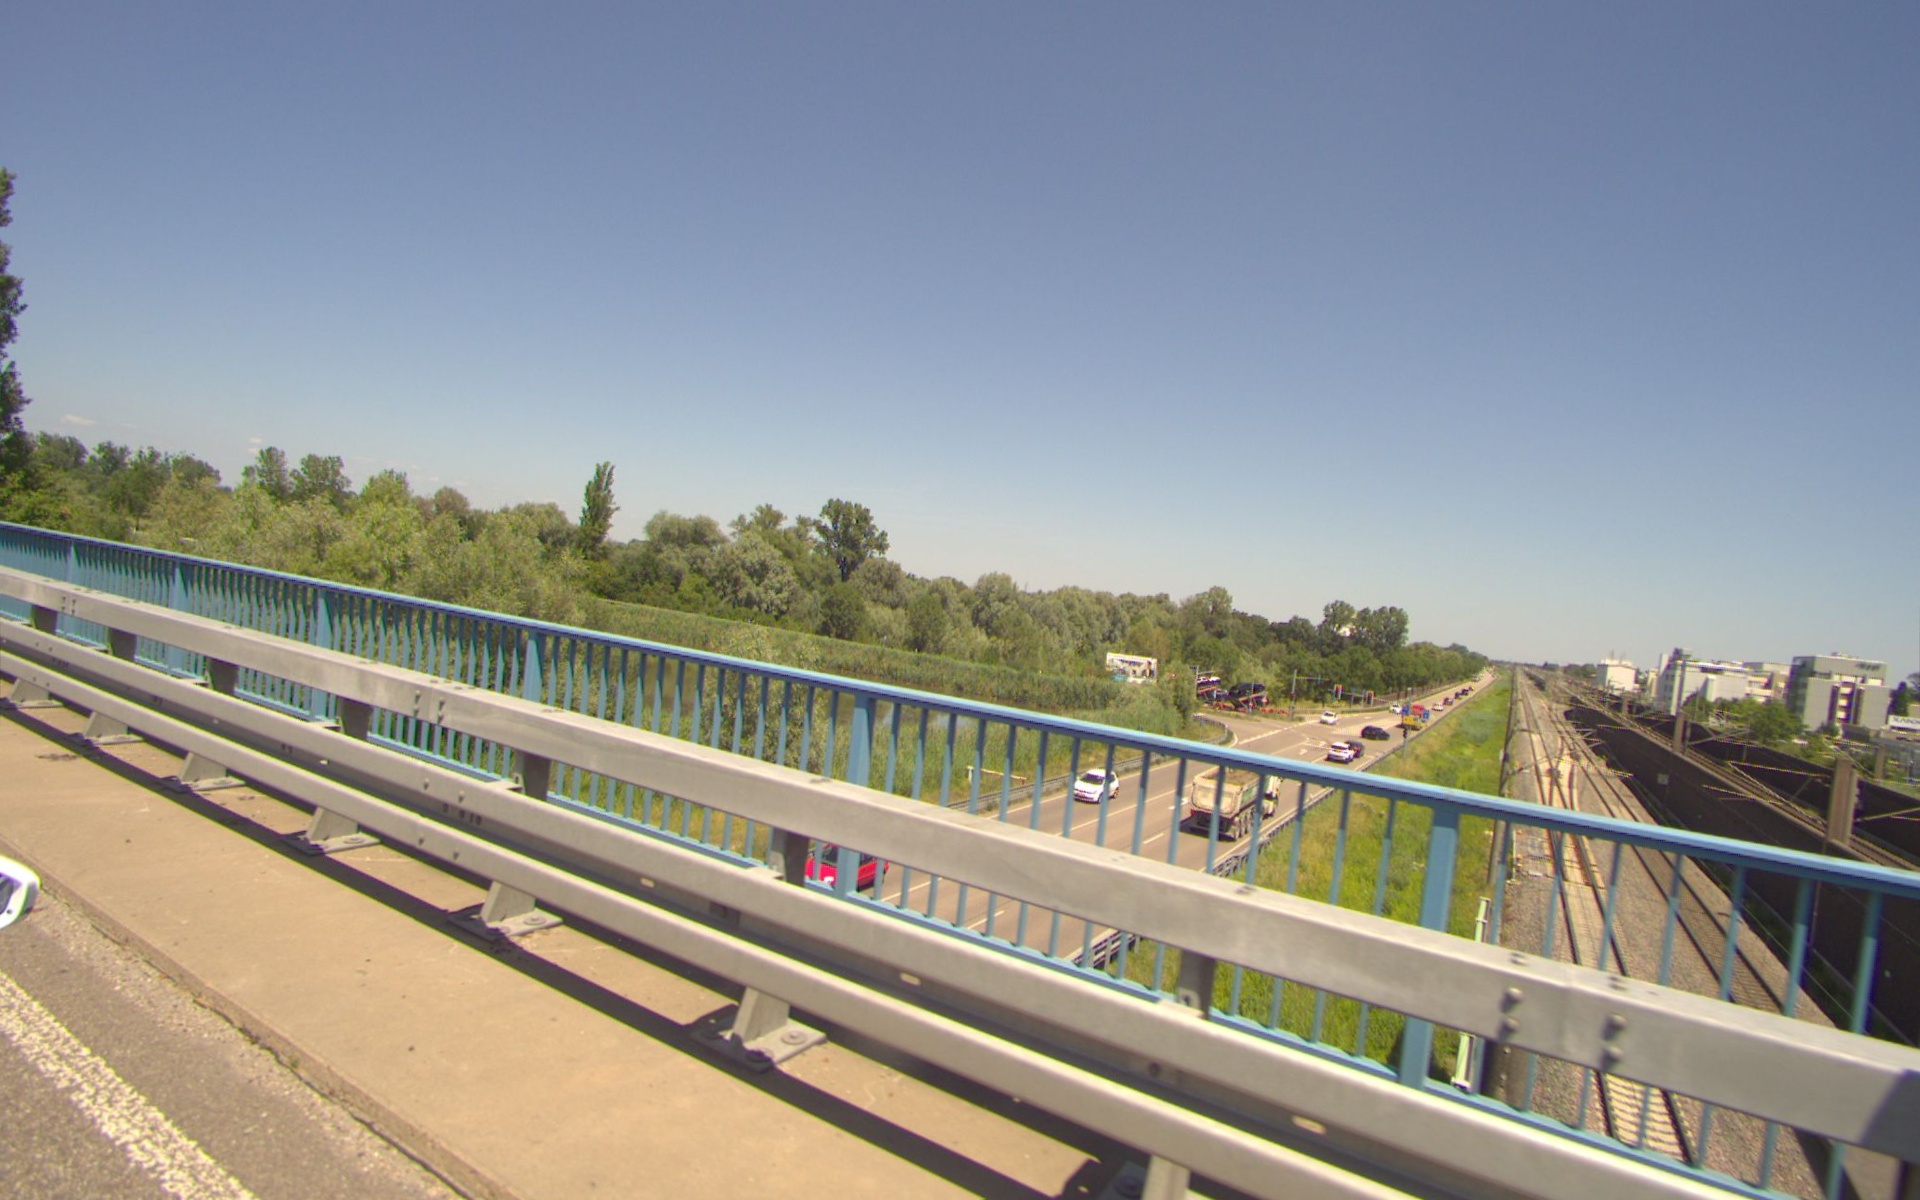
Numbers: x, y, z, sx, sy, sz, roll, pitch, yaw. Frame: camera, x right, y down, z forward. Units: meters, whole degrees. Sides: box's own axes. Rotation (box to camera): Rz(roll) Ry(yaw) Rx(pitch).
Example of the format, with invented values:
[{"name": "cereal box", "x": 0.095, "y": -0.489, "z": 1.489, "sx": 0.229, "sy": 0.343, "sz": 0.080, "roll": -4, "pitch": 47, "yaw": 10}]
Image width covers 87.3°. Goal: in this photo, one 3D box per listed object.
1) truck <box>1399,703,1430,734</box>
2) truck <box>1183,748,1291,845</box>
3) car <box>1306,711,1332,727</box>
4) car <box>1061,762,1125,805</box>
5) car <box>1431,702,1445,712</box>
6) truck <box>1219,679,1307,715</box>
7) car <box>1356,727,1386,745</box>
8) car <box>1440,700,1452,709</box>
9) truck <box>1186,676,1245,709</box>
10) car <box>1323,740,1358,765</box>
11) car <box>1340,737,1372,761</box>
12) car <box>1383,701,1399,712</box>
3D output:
[{"name": "truck", "x": 65.543, "y": 17.028, "z": 144.869, "sx": 2.826, "sy": 3.467, "sz": 10.972, "roll": 8, "pitch": 1, "yaw": 29}, {"name": "truck", "x": 15.599, "y": 10.607, "z": 55.807, "sx": 2.826, "sy": 3.467, "sz": 11.921, "roll": 8, "pitch": 1, "yaw": 28}, {"name": "car", "x": 45.455, "y": 15.043, "z": 127.242, "sx": 1.967, "sy": 1.638, "sz": 4.233, "roll": 9, "pitch": 1, "yaw": 33}, {"name": "car", "x": 7.636, "y": 10.438, "z": 57.492, "sx": 1.966, "sy": 1.638, "sz": 4.236, "roll": 9, "pitch": 1, "yaw": 30}, {"name": "car", "x": 94.509, "y": 21.180, "z": 198.902, "sx": 1.967, "sy": 1.638, "sz": 4.235, "roll": 9, "pitch": 1, "yaw": 31}, {"name": "truck", "x": 39.327, "y": 12.590, "z": 130.315, "sx": 12.299, "sy": 3.398, "sz": 1.989, "roll": 7, "pitch": -1, "yaw": -24}, {"name": "car", "x": 48.082, "y": 15.928, "z": 117.680, "sx": 1.970, "sy": 1.638, "sz": 4.227, "roll": 9, "pitch": 1, "yaw": 38}, {"name": "car", "x": 110.913, "y": 23.752, "z": 229.598, "sx": 1.967, "sy": 1.638, "sz": 4.235, "roll": 9, "pitch": 1, "yaw": 31}, {"name": "truck", "x": 32.468, "y": 11.717, "z": 127.709, "sx": 6.707, "sy": 3.398, "sz": 1.997, "roll": 7, "pitch": 0, "yaw": -8}, {"name": "car", "x": 34.366, "y": 13.736, "z": 90.798, "sx": 1.967, "sy": 1.638, "sz": 4.235, "roll": 9, "pitch": 1, "yaw": 31}, {"name": "car", "x": 38.080, "y": 14.300, "z": 96.716, "sx": 1.967, "sy": 1.638, "sz": 4.235, "roll": 9, "pitch": 1, "yaw": 31}, {"name": "car", "x": 79.690, "y": 19.681, "z": 186.021, "sx": 1.967, "sy": 1.638, "sz": 4.233, "roll": 9, "pitch": 1, "yaw": 33}]
